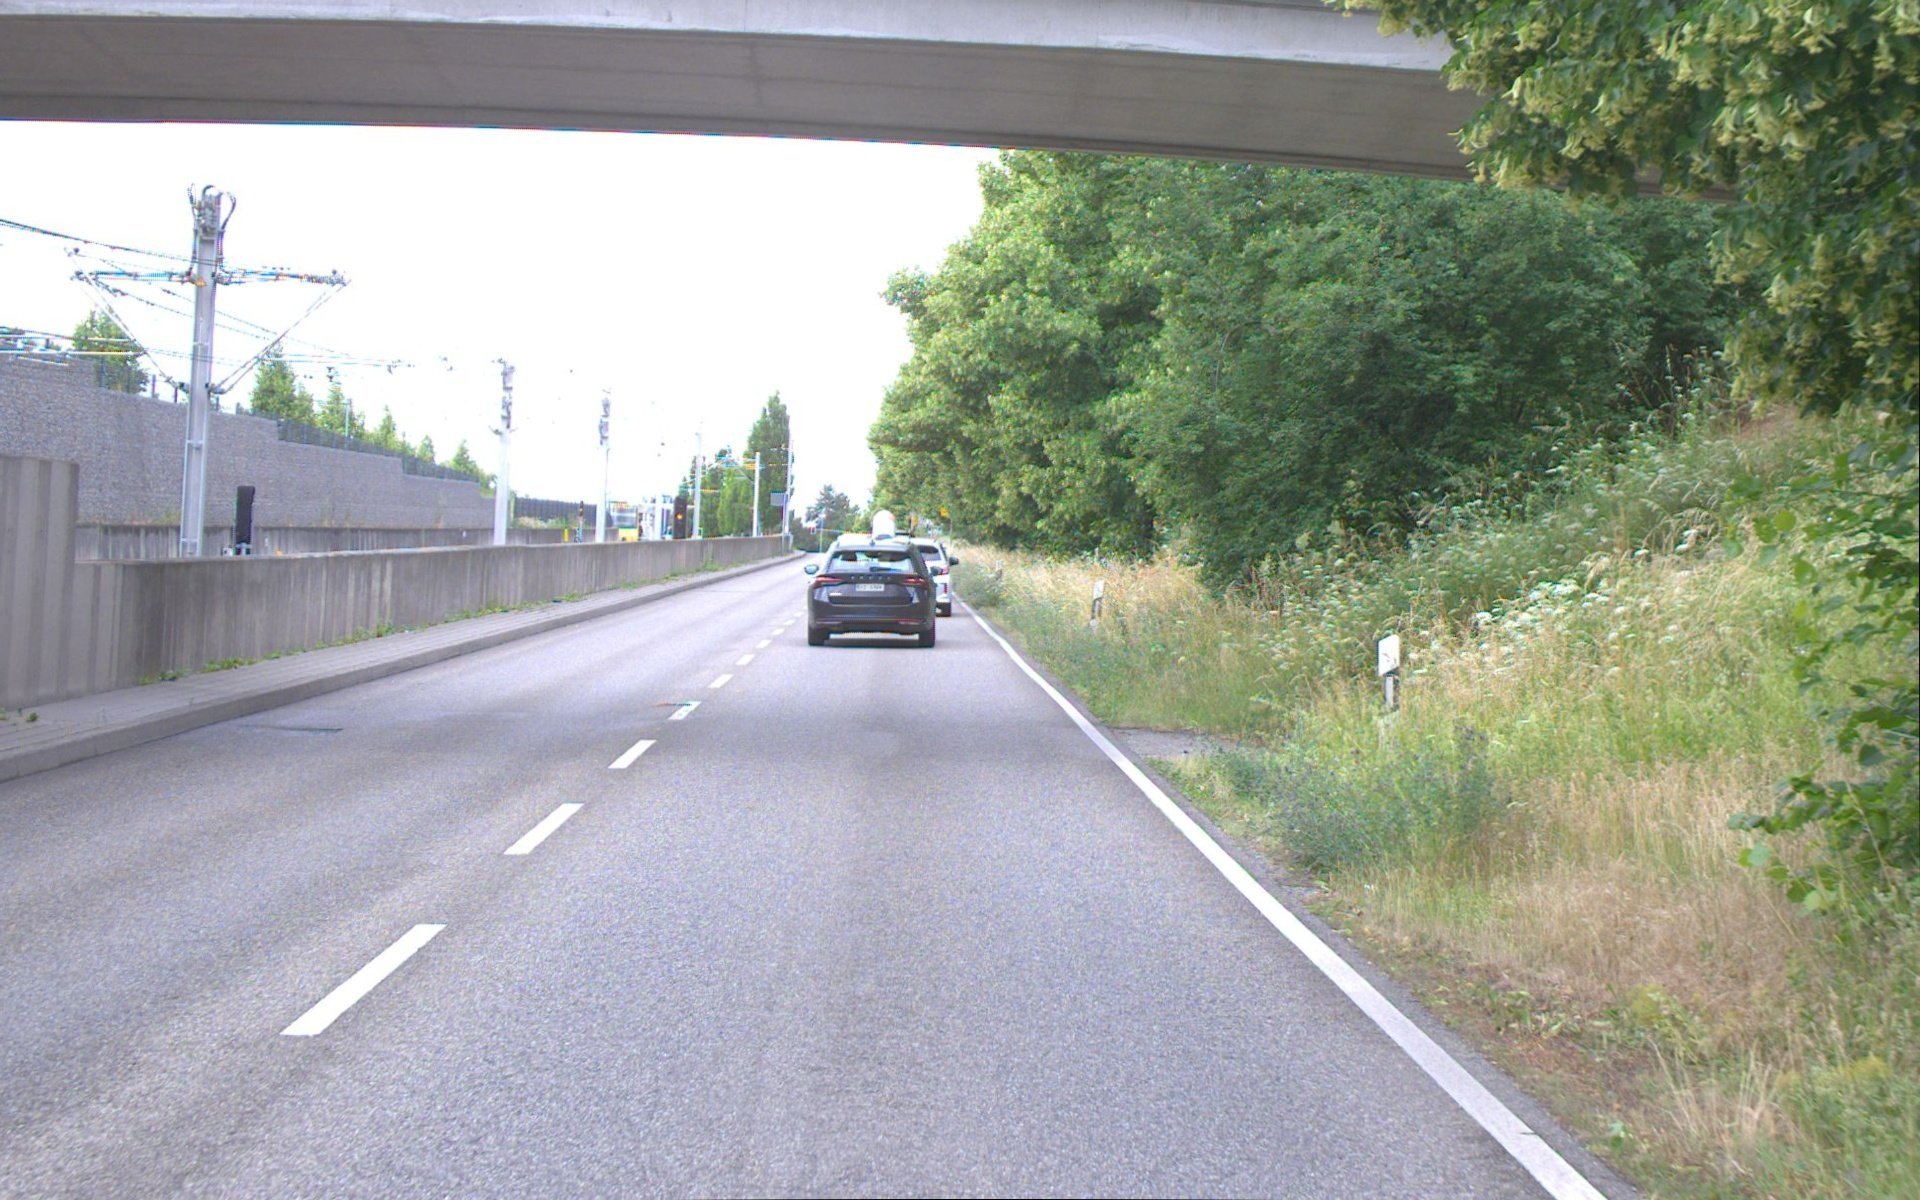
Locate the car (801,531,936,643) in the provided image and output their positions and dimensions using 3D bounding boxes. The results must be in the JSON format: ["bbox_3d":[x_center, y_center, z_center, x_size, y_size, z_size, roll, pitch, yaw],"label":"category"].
[{"bbox_3d":[-1.258,-0.209,48.197,1.781,1.463,4.000,1,1,-1],"label":"car"}]

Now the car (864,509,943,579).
[{"bbox_3d":[-1.472,-1.447,89.860,1.993,1.734,4.000,1,0,-1],"label":"car"}]

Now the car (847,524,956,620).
[{"bbox_3d":[-1.126,-0.554,66.329,1.993,1.747,4.000,1,1,-1],"label":"car"}]
